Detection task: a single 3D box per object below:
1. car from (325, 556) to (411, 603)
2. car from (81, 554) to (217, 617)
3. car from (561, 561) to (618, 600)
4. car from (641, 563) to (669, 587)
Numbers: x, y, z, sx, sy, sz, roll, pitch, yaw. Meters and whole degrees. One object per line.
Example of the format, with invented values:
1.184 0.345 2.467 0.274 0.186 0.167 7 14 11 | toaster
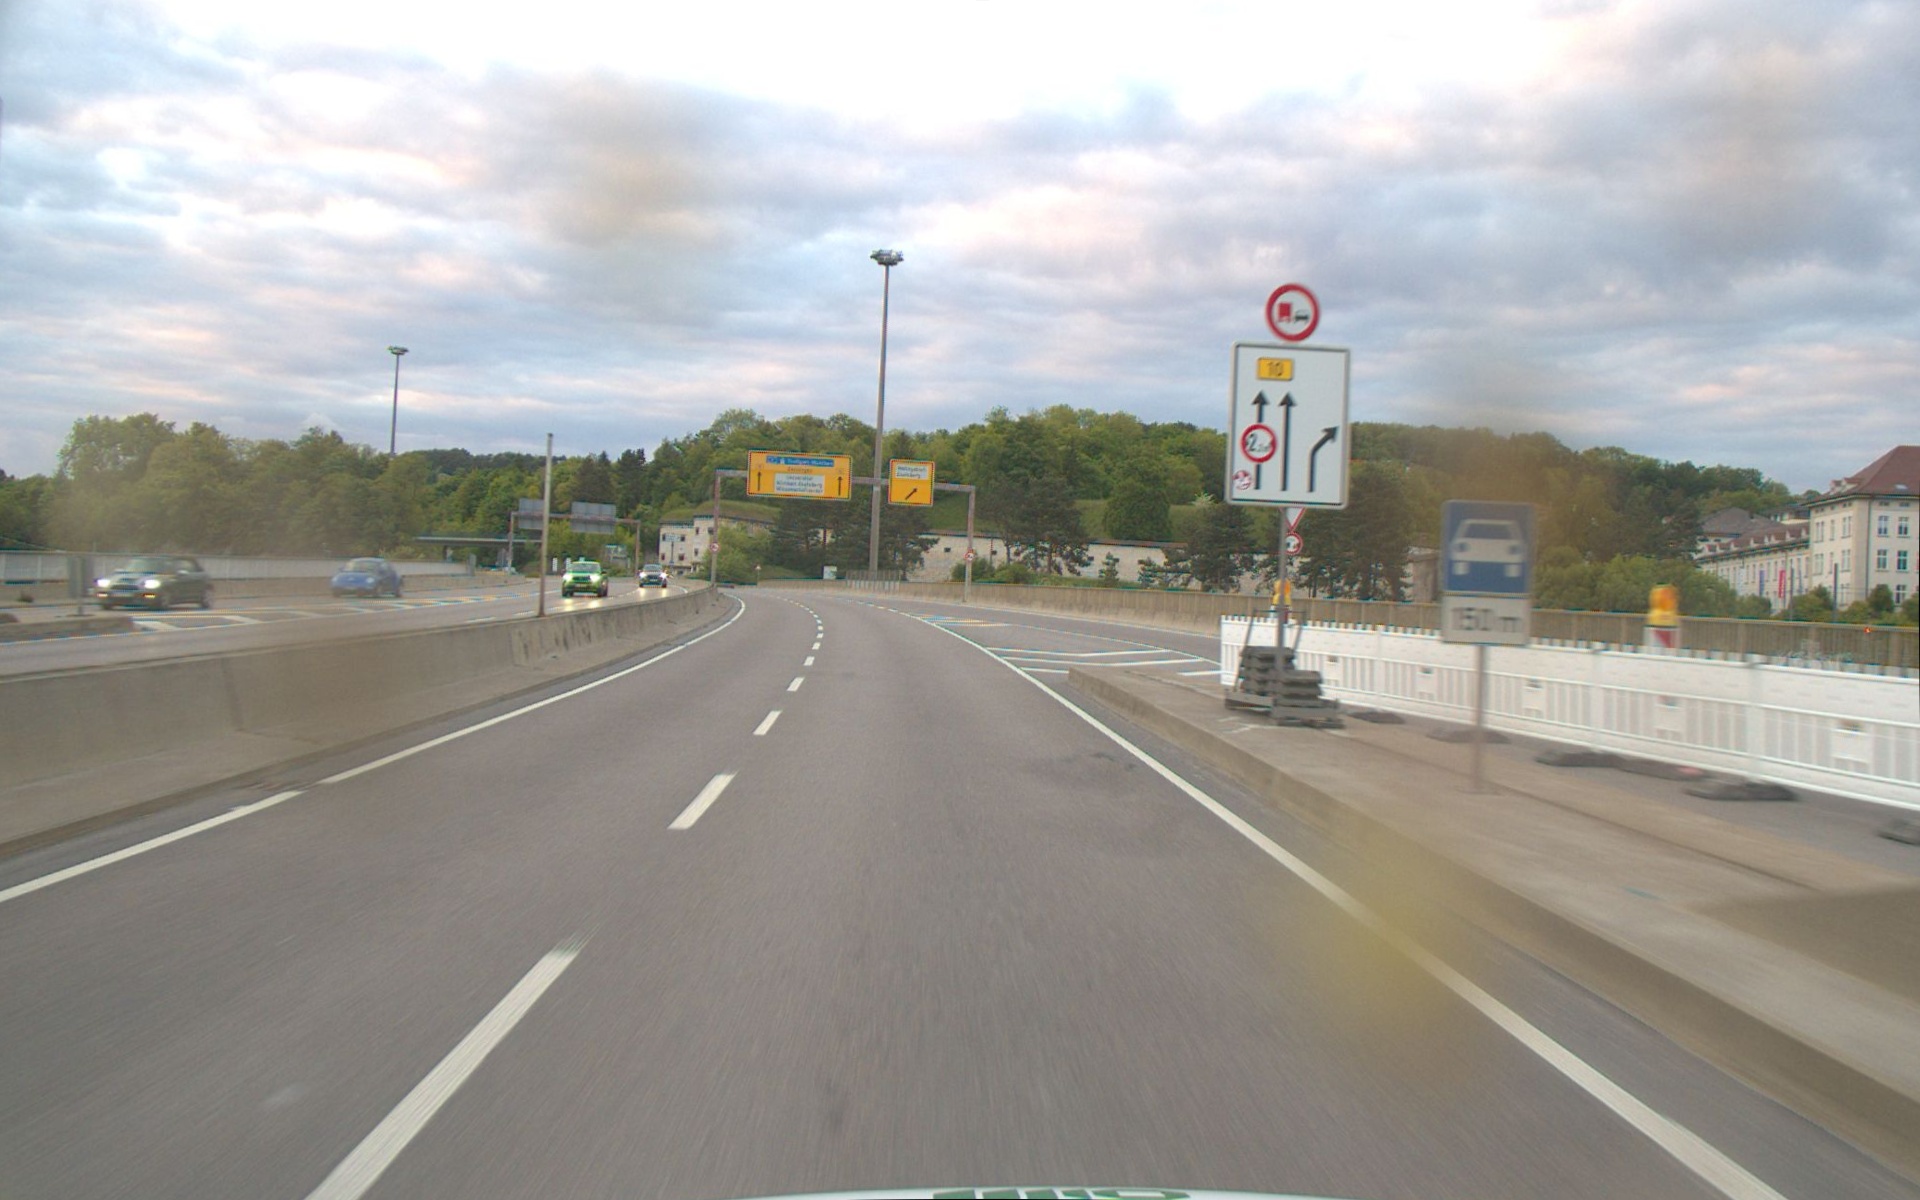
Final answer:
-22.330 -0.797 62.529 1.860 1.623 4.161 2 1 -3 | car
-21.344 -0.351 43.699 1.760 1.512 3.839 2 -1 -2 | car
-16.489 -0.835 73.799 1.677 1.520 4.078 4 -1 -3 | car
-20.801 -1.698 112.872 1.779 1.561 4.534 2 0 -11 | car
